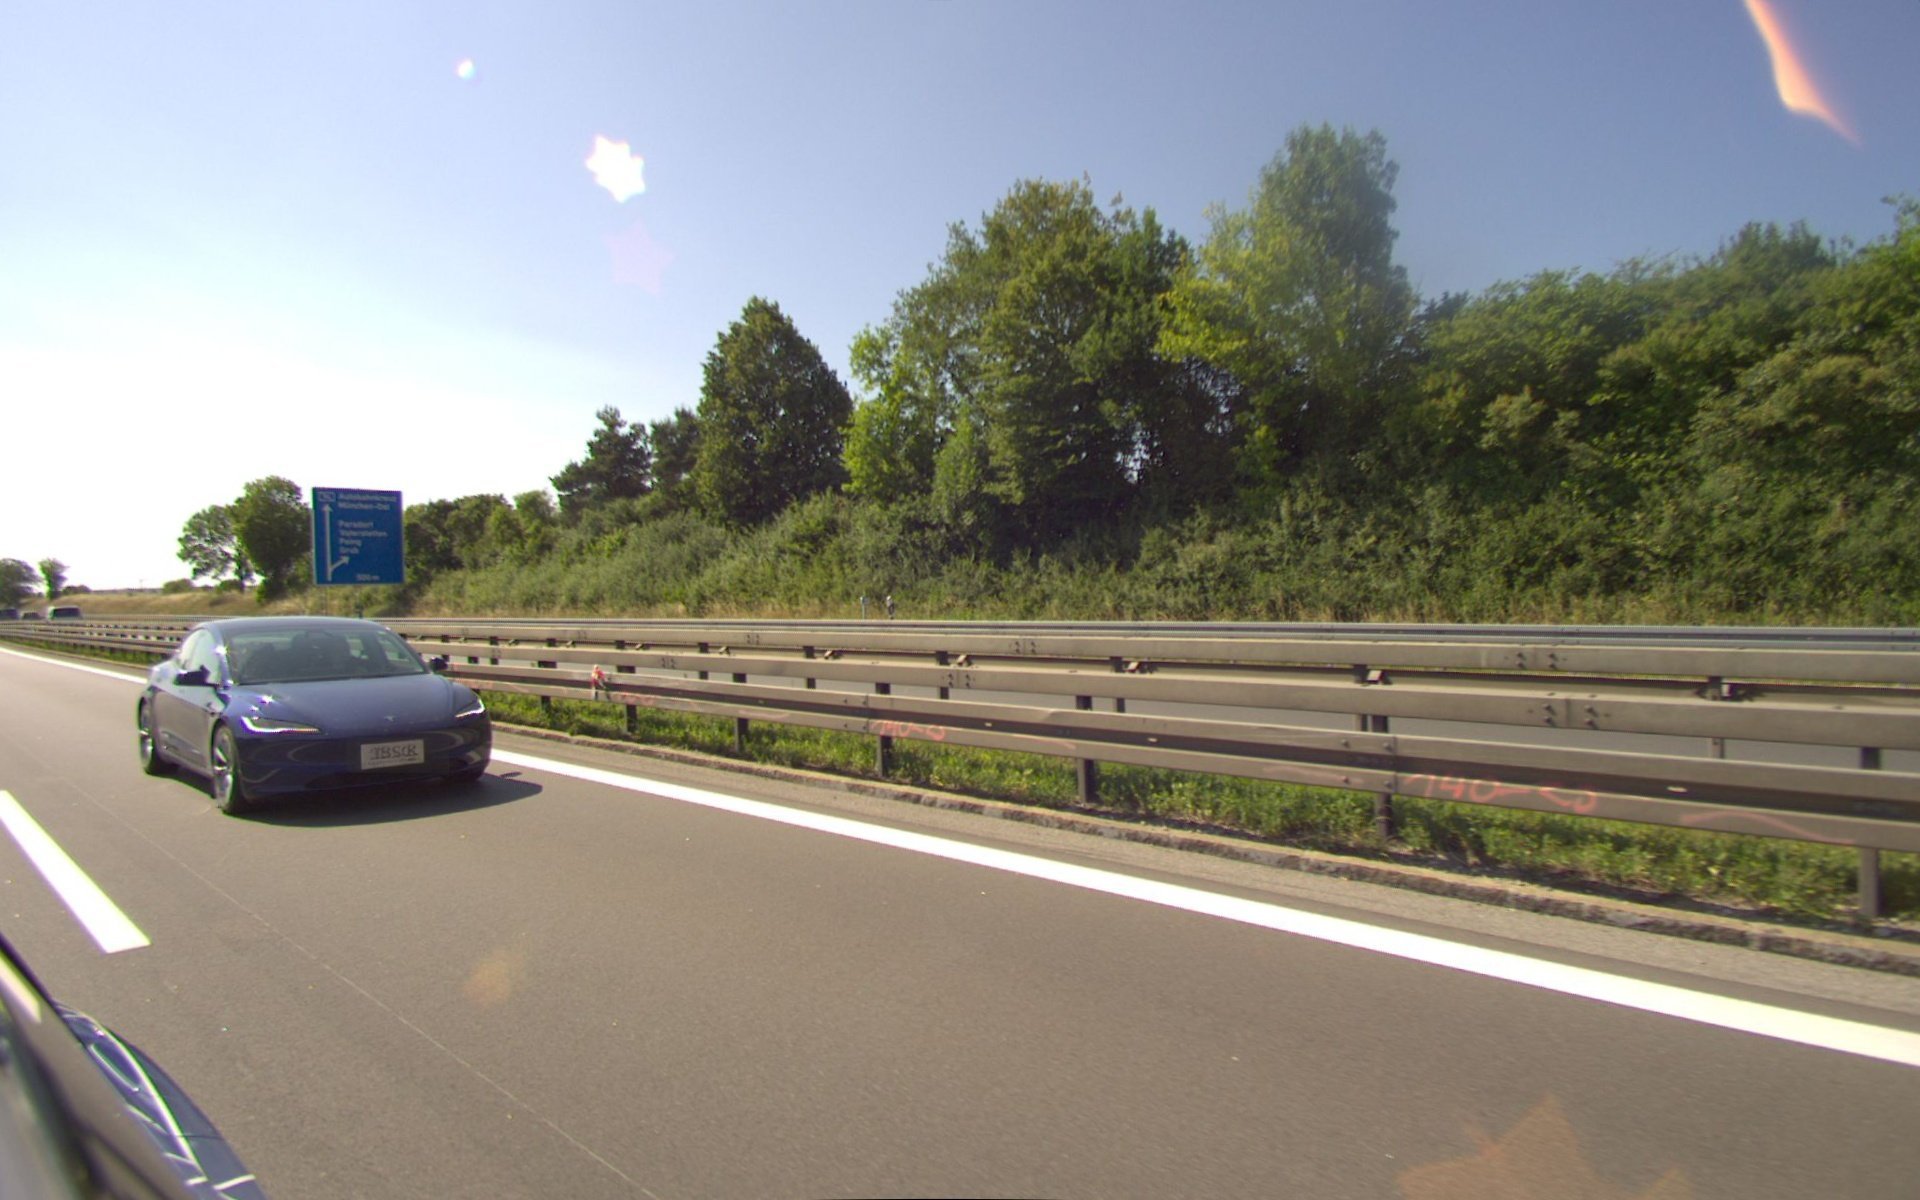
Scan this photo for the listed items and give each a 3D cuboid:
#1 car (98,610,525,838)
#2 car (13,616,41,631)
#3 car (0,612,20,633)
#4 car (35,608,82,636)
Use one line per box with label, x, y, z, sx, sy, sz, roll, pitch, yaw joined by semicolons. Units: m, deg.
car;-6.158;0.843;9.178;5.865;1.443;1.827;-1;0;42
car;-108.792;2.715;117.956;4.486;1.624;1.972;-1;1;42
car;-97.117;2.300;102.819;5.038;1.987;1.972;-1;1;42
car;-67.036;1.631;75.240;5.690;2.005;1.972;-1;0;42
